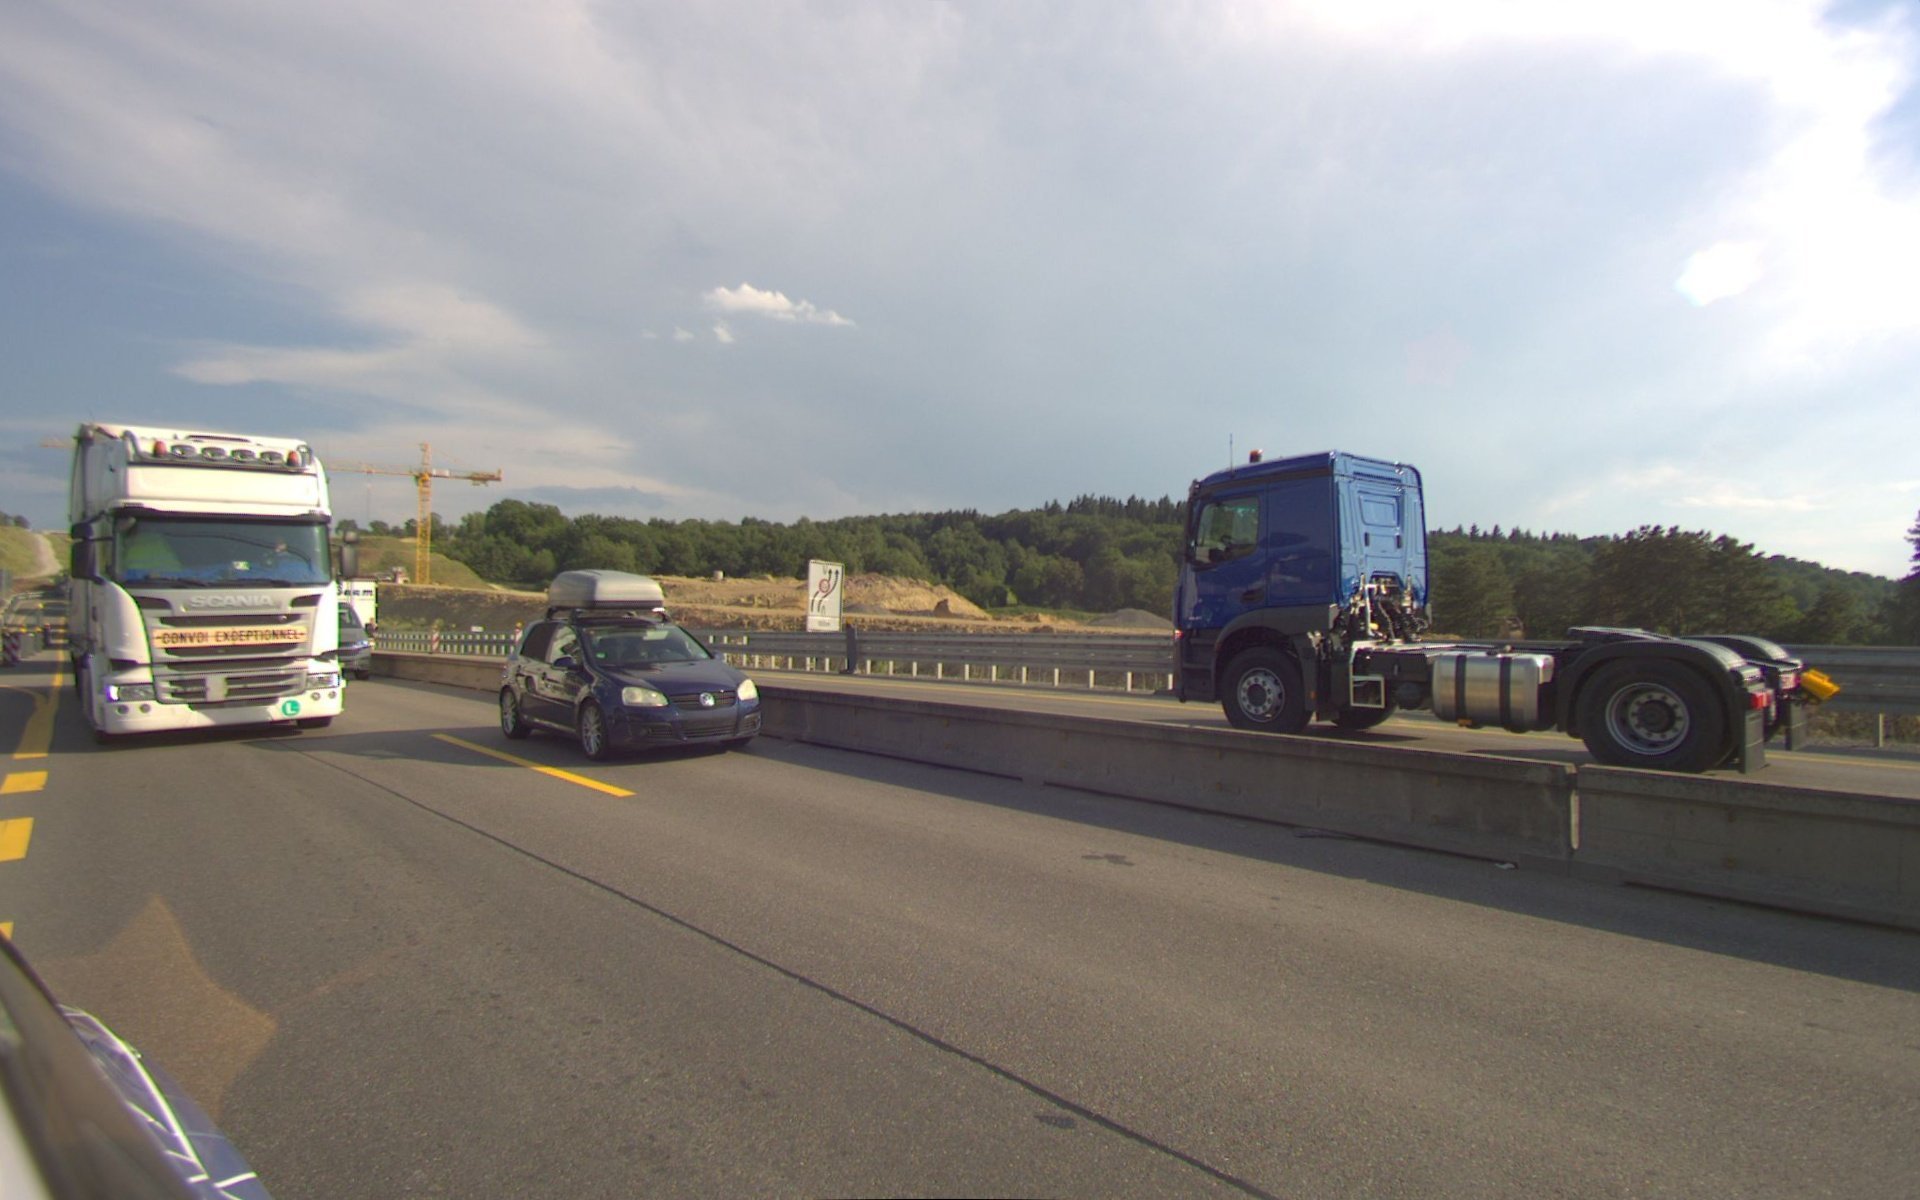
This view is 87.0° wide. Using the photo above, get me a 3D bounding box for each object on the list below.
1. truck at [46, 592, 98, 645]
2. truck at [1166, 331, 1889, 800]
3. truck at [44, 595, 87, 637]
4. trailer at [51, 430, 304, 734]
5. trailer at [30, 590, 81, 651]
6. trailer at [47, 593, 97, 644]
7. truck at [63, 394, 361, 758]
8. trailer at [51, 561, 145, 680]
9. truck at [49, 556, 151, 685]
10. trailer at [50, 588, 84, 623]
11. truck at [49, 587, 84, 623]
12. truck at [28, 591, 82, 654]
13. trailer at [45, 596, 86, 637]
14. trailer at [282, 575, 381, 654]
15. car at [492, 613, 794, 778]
[{"bbox_3d":[-76.583,1.661,87.358,3.065,4.347,6.907,3,-3,-41],"label":"truck"},{"bbox_3d":[5.439,-0.184,10.589,2.860,3.422,5.961,1,-2,-40],"label":"truck"},{"bbox_3d":[-95.257,1.747,107.854,3.065,4.347,6.907,3,-3,-41],"label":"truck"},{"bbox_3d":[-15.083,-0.128,18.843,2.451,3.908,13.645,1,-2,-43],"label":"trailer"},{"bbox_3d":[-64.034,1.434,71.799,2.450,3.989,13.995,1,-2,-41],"label":"trailer"},{"bbox_3d":[-81.662,1.751,93.203,3.065,4.347,14.273,3,-3,-41],"label":"trailer"},{"bbox_3d":[-10.447,-0.208,13.888,2.451,3.908,6.016,1,-2,-44],"label":"truck"},{"bbox_3d":[-34.774,0.808,40.846,2.449,4.092,13.651,1,-2,-41],"label":"trailer"},{"bbox_3d":[-29.973,0.699,35.272,2.450,4.091,6.020,1,-2,-41],"label":"truck"},{"bbox_3d":[-118.739,0.881,134.724,3.065,4.347,14.273,3,-3,-41],"label":"trailer"},{"bbox_3d":[-113.411,0.745,128.516,3.065,4.347,6.907,3,-3,-41],"label":"truck"},{"bbox_3d":[-59.112,1.475,66.174,2.450,3.931,6.020,1,-2,-41],"label":"truck"},{"bbox_3d":[-100.488,1.885,113.868,3.065,4.347,14.273,3,-3,-41],"label":"trailer"},{"bbox_3d":[-36.865,0.892,59.011,2.595,4.097,14.100,3,-3,-41],"label":"trailer"},{"bbox_3d":[-3.648,0.901,11.233,1.798,1.496,3.925,1,-1,-41],"label":"car"}]
